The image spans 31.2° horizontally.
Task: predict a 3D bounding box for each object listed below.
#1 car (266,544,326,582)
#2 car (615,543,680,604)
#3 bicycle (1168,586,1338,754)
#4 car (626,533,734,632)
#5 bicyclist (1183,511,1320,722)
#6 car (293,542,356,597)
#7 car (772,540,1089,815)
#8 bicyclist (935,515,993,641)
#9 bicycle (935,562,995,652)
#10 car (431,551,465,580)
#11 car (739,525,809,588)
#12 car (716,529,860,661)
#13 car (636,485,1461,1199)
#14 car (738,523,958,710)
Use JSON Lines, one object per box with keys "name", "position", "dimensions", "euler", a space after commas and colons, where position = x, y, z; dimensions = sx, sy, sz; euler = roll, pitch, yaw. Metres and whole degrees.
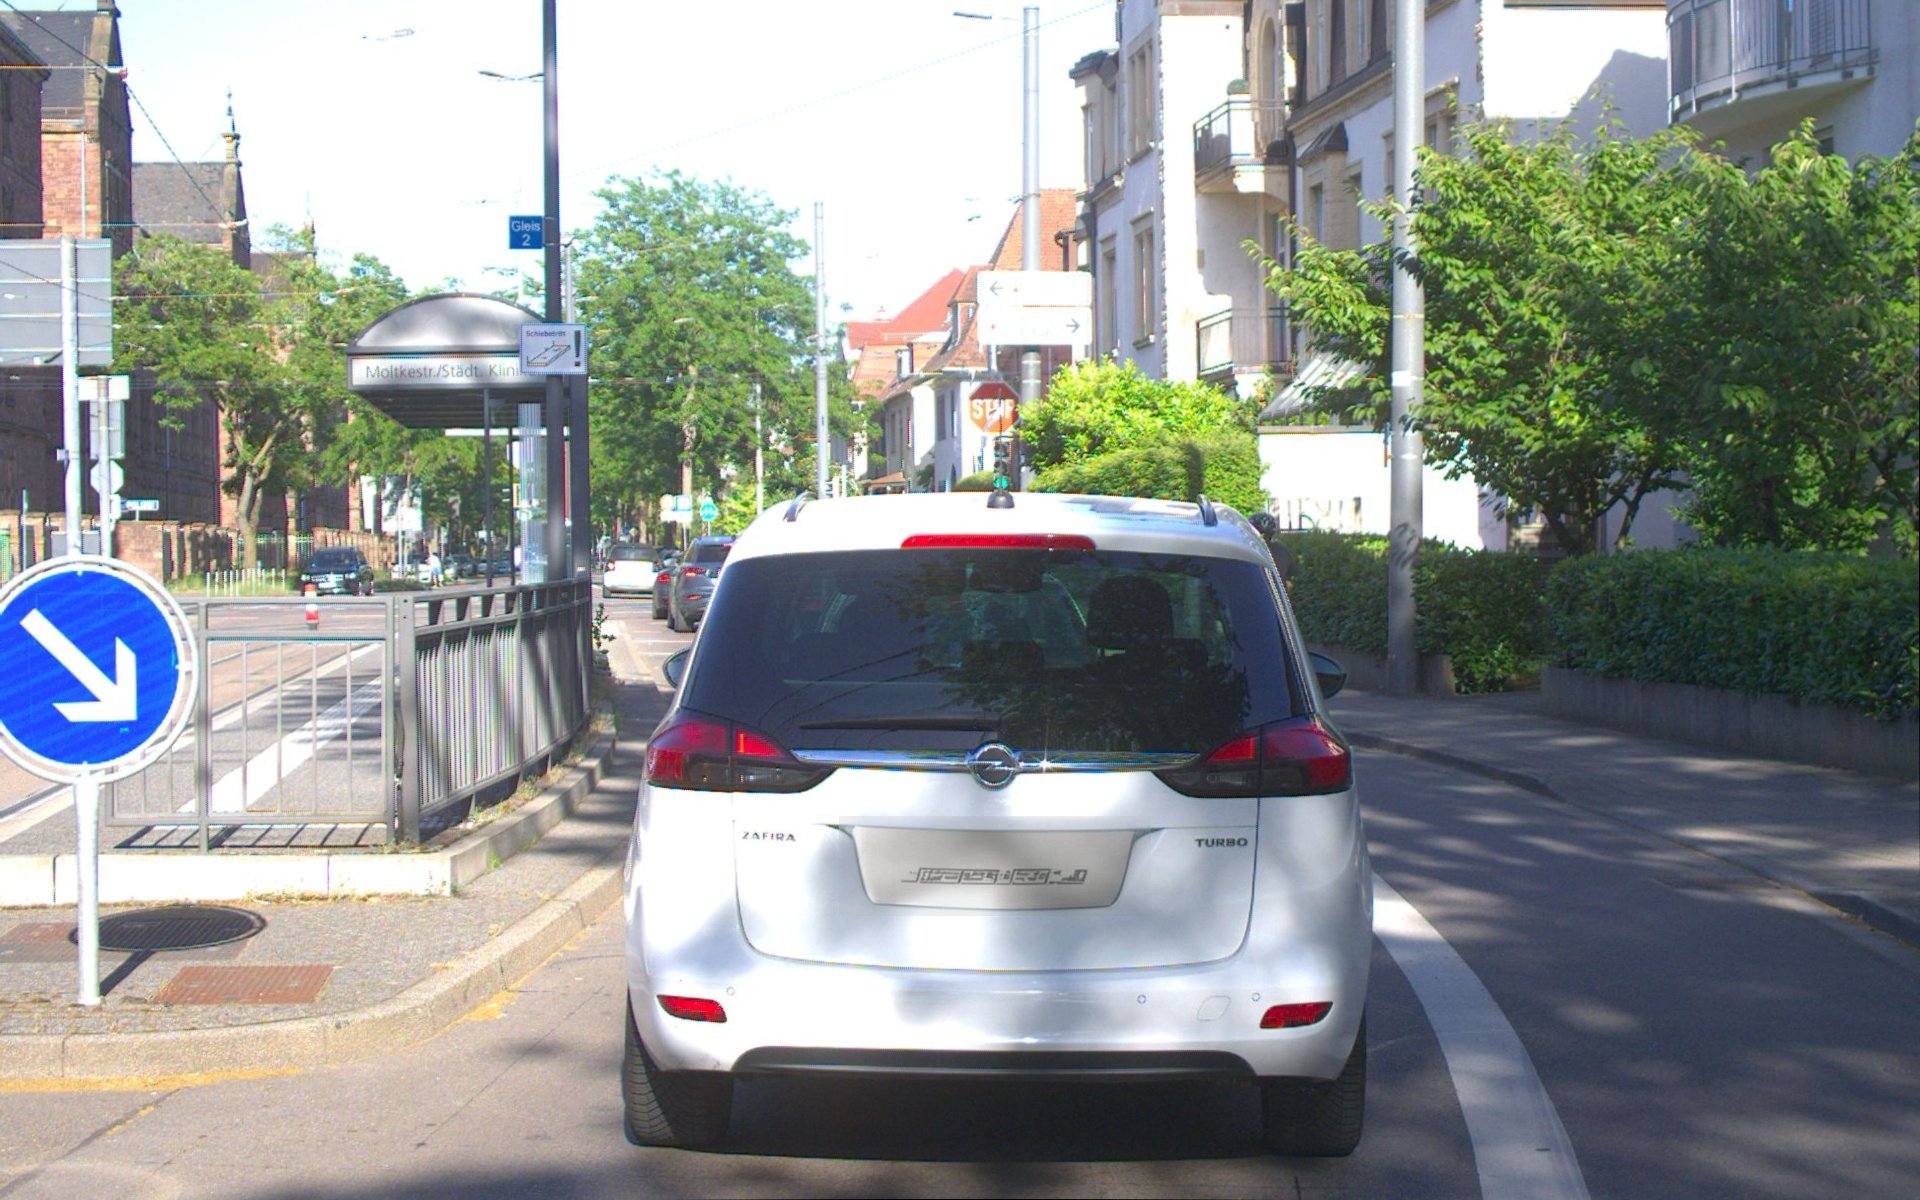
{"name": "car", "position": [-28.023, -1.564, 145.115], "dimensions": [1.993, 1.590, 4.001], "euler": [0, 1, -4]}
{"name": "car", "position": [-8.924, -0.762, 98.265], "dimensions": [1.775, 1.687, 3.881], "euler": [0, 1, -4]}
{"name": "bicycle", "position": [2.104, 0.483, 24.978], "dimensions": [0.829, 1.150, 2.095], "euler": [0, 1, -7]}
{"name": "car", "position": [-4.731, -0.311, 58.484], "dimensions": [1.775, 1.626, 3.881], "euler": [0, 1, -4]}
{"name": "bicyclist", "position": [2.108, 0.111, 24.923], "dimensions": [0.821, 1.496, 0.934], "euler": [0, 0, -7]}
{"name": "car", "position": [-19.860, -0.967, 107.541], "dimensions": [1.906, 1.671, 4.359], "euler": [0, 1, -10]}
{"name": "car", "position": [-0.258, 0.373, 20.168], "dimensions": [1.586, 1.415, 3.901], "euler": [-1, 1, -4]}
{"name": "bicyclist", "position": [0.051, -0.288, 44.908], "dimensions": [0.685, 1.629, 1.016], "euler": [0, 0, -4]}
{"name": "bicycle", "position": [0.057, 0.082, 44.882], "dimensions": [0.685, 1.153, 1.620], "euler": [0, 1, -4]}
{"name": "car", "position": [-30.320, -2.061, 203.537], "dimensions": [1.906, 1.671, 4.001], "euler": [0, 1, -7]}
{"name": "car", "position": [-4.920, -1.149, 90.558], "dimensions": [1.775, 1.626, 3.881], "euler": [0, 1, -4]}
{"name": "car", "position": [-2.207, -0.080, 44.343], "dimensions": [1.776, 1.626, 3.881], "euler": [0, 1, -2]}
{"name": "car", "position": [0.022, 0.545, 9.560], "dimensions": [1.834, 1.636, 3.919], "euler": [0, 1, -5]}
{"name": "car", "position": [-1.104, 0.124, 32.025], "dimensions": [1.775, 1.626, 3.881], "euler": [0, 1, -6]}
